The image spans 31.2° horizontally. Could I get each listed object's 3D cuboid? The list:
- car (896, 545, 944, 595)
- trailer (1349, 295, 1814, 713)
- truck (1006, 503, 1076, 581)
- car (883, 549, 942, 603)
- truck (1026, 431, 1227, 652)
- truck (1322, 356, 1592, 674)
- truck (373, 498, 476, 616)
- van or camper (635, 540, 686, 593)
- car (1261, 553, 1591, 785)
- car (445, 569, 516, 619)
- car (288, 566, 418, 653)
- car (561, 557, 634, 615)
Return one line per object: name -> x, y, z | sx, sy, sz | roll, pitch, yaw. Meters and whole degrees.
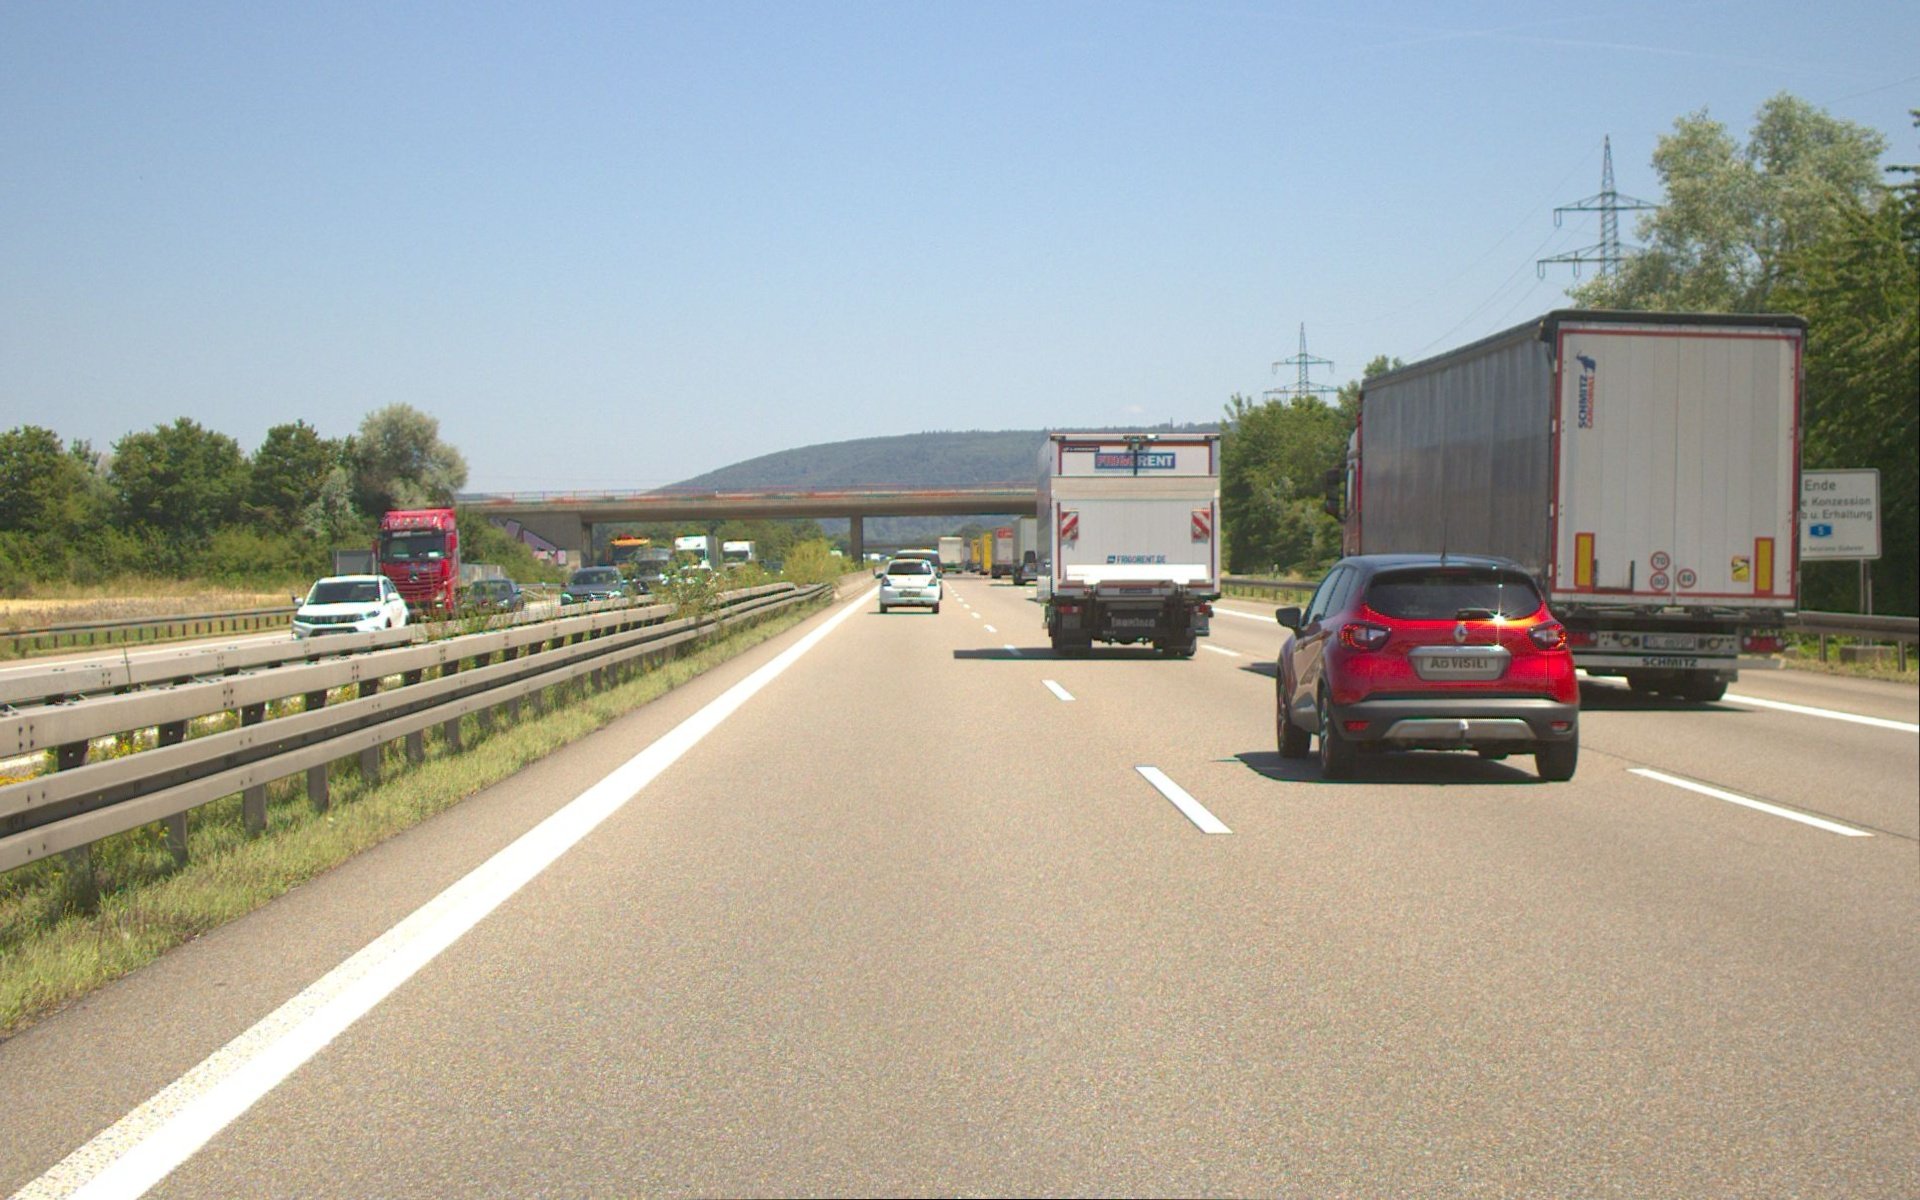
car -> -1.508, -1.161, 130.506 | 1.761, 1.844, 4.000 | -1, 1, 0
trailer -> 6.964, -1.048, 41.020 | 2.788, 4.149, 13.575 | 0, 1, -1
truck -> 4.757, -3.412, 204.412 | 3.520, 4.401, 14.592 | -2, 1, -1
car -> -1.323, -0.686, 97.677 | 1.607, 1.462, 4.000 | -1, 1, 0
truck -> 2.626, -0.944, 56.708 | 2.782, 3.361, 8.128 | 0, 1, -1
truck -> 6.799, -1.148, 47.768 | 2.794, 4.149, 5.723 | 0, 1, -1
truck -> -19.196, -1.557, 123.510 | 2.760, 4.000, 5.751 | -3, 1, -1
van or camper -> -15.629, -1.751, 179.453 | 2.170, 2.579, 5.874 | -3, 1, -1
car -> 3.276, 0.435, 24.896 | 1.803, 1.540, 4.000 | 0, 1, -1
car -> -15.191, -0.203, 109.118 | 1.733, 1.446, 3.677 | -2, 1, -1
car -> -11.565, 0.158, 65.720 | 1.809, 1.531, 3.962 | -2, 1, -1
car -> -10.899, -0.430, 103.562 | 1.809, 1.642, 3.962 | -2, 1, -1
